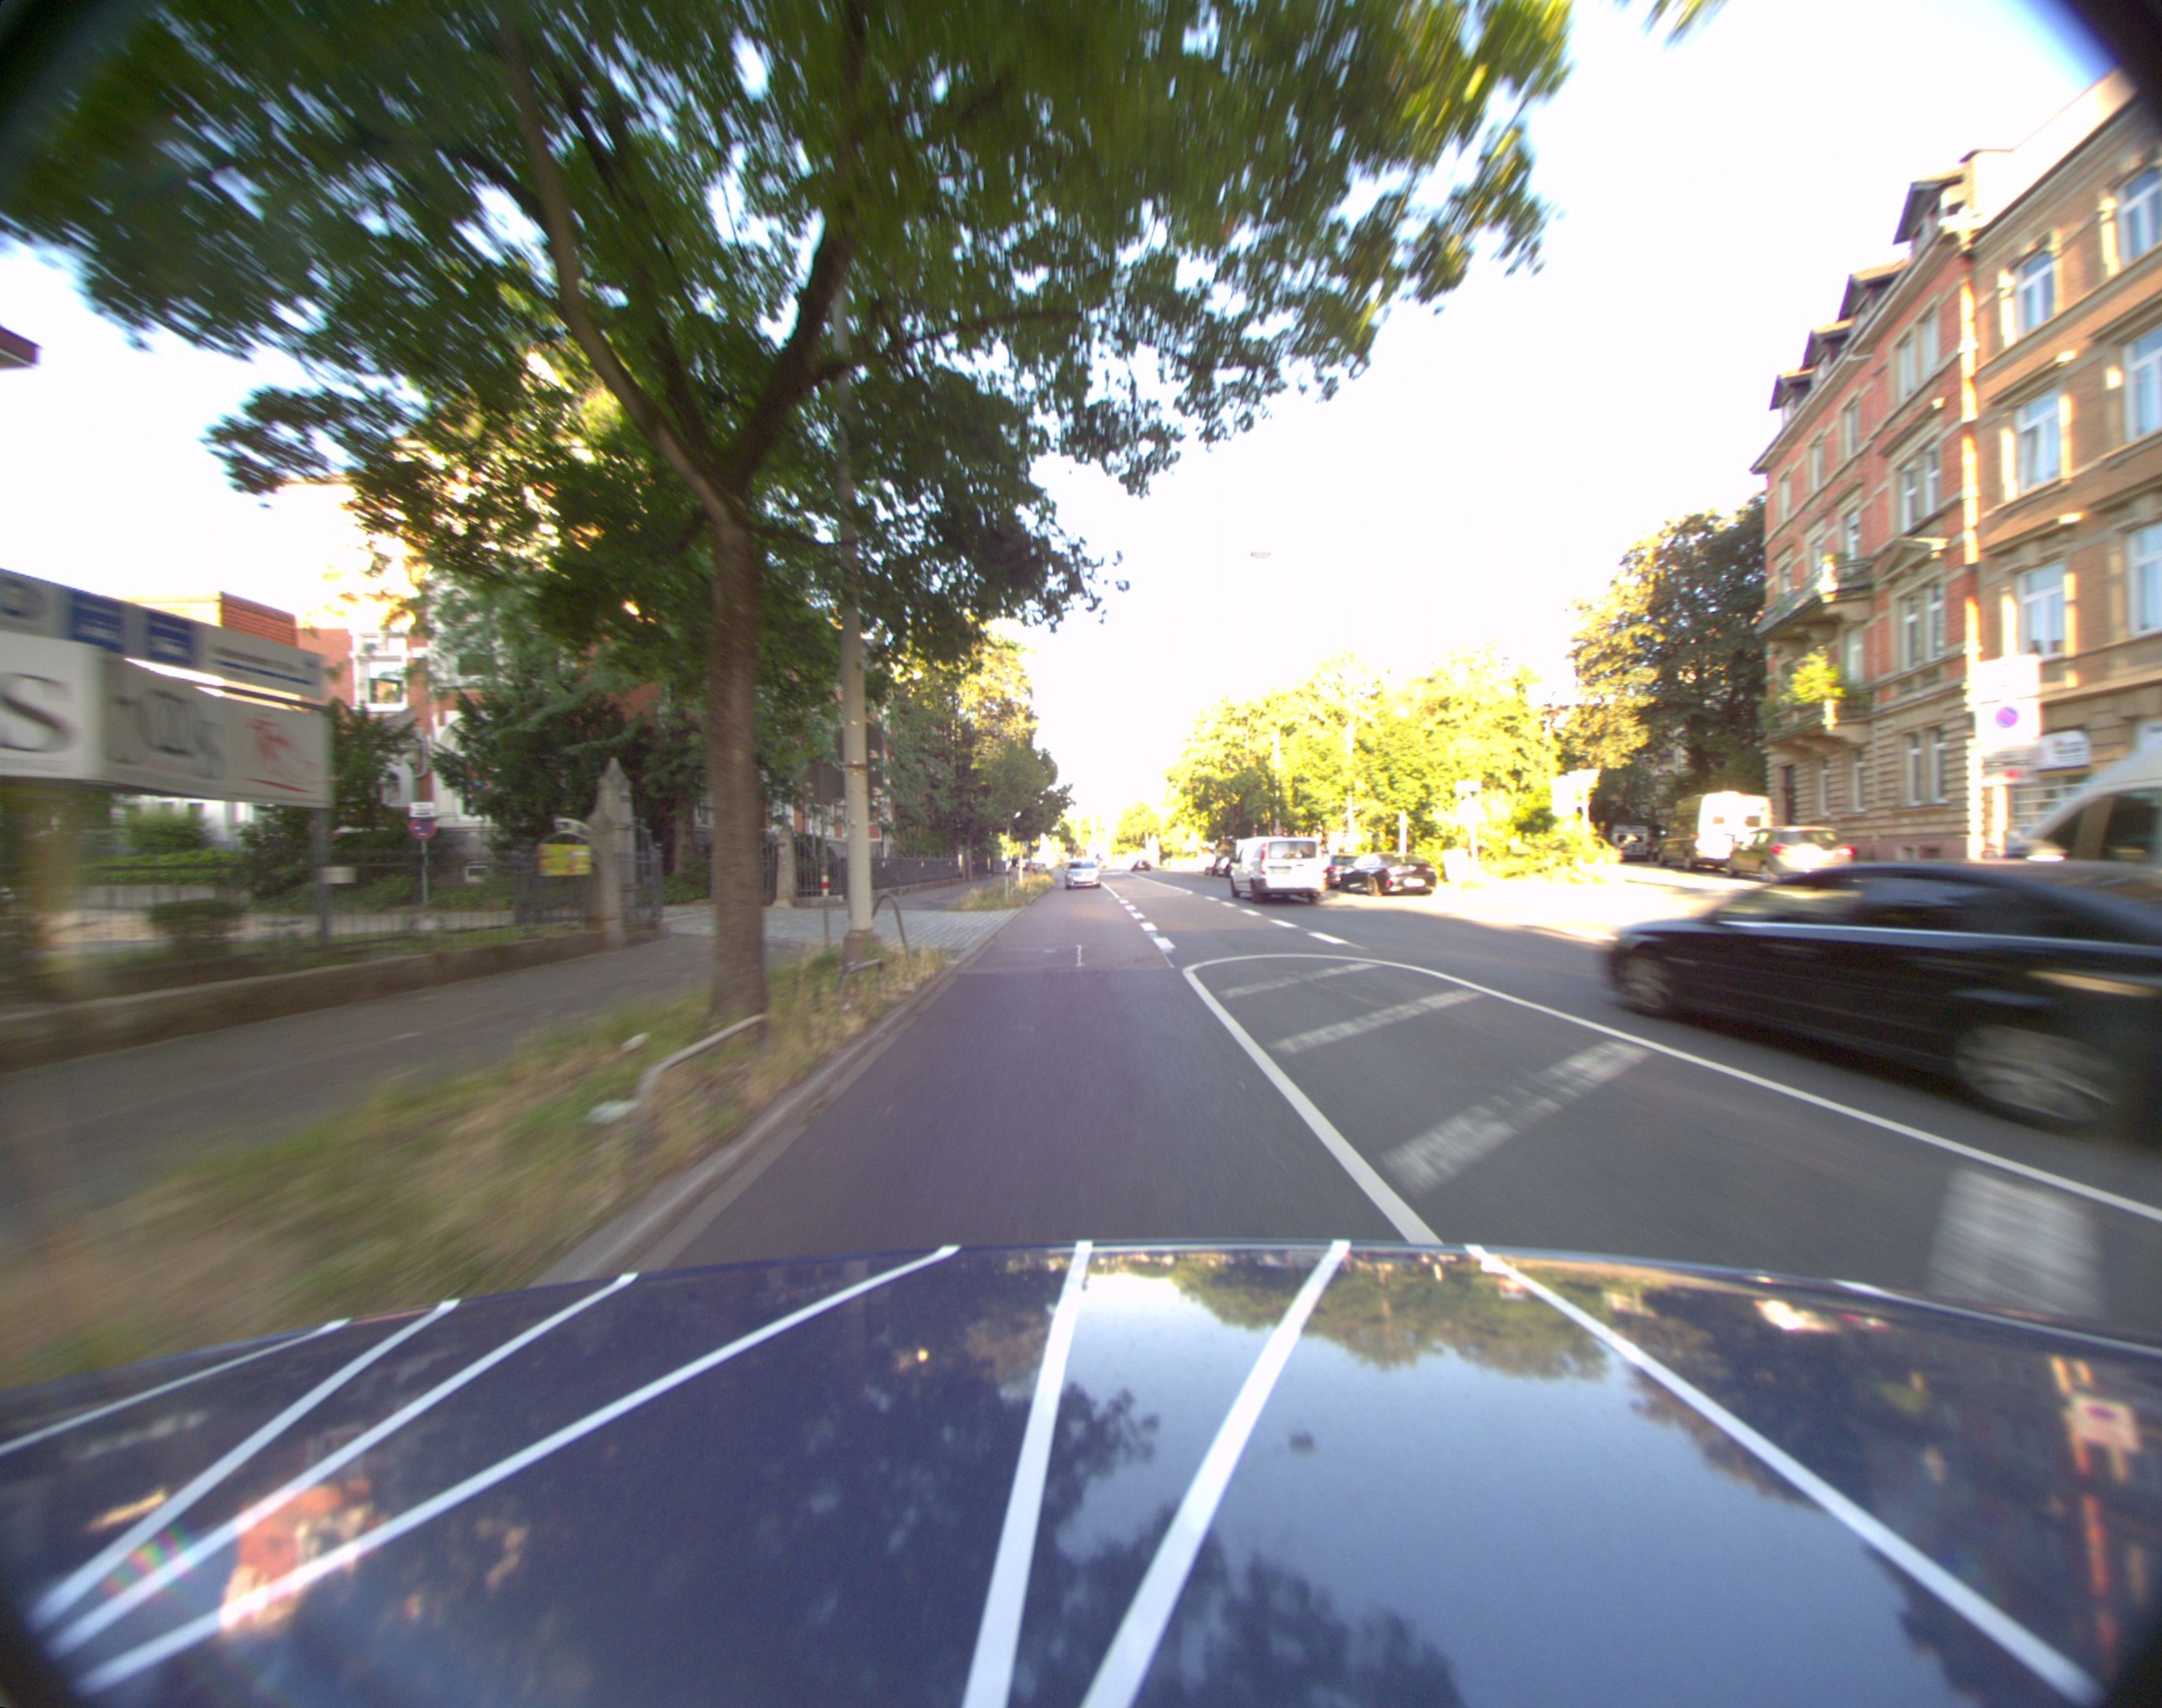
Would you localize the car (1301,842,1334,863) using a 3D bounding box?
[{"bbox_3d":[26.988,-0.168,86.883,2.220,2.275,5.099,-2,0,2],"label":"car"}]

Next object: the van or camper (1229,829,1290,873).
[{"bbox_3d":[10.500,-0.153,45.278,2.096,2.454,6.305,0,0,-1],"label":"van or camper"}]

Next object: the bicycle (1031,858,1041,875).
[{"bbox_3d":[-3.172,0.887,53.790,0.648,1.160,1.930,-3,0,-4],"label":"bicycle"}]

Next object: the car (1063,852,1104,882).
[{"bbox_3d":[0.057,0.660,39.180,1.896,1.454,3.965,-1,-1,-3],"label":"car"}]

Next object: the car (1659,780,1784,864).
[{"bbox_3d":[22.834,-1.034,27.355,2.121,2.723,5.319,0,0,25],"label":"car"}]

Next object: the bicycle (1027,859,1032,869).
[{"bbox_3d":[-6.511,1.258,95.664,0.567,1.268,2.263,3,1,-4],"label":"bicycle"}]

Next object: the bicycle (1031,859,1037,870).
[{"bbox_3d":[-5.932,1.275,95.717,0.567,1.292,2.263,3,1,-4],"label":"bicycle"}]

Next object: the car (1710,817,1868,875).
[{"bbox_3d":[20.593,-0.221,22.388,1.995,1.528,4.570,0,0,24],"label":"car"}]

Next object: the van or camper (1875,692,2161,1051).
[{"bbox_3d":[9.031,0.062,4.467,1.999,2.653,6.036,-5,0,-4],"label":"van or camper"}]

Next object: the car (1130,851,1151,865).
[{"bbox_3d":[6.112,0.376,78.373,1.770,1.394,4.544,-1,0,0],"label":"car"}]

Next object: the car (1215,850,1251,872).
[{"bbox_3d":[10.575,0.476,53.023,1.632,1.421,4.242,0,0,-1],"label":"car"}]

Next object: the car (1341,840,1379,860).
[{"bbox_3d":[27.769,-0.371,75.804,1.999,1.871,3.998,-3,0,-4],"label":"car"}]

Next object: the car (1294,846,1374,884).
[{"bbox_3d":[10.410,0.424,31.573,1.740,1.437,4.625,-1,0,0],"label":"car"}]

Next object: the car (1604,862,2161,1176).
[{"bbox_3d":[5.749,0.760,4.930,1.764,1.378,4.304,0,0,0],"label":"car"}]

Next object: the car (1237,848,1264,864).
[{"bbox_3d":[19.488,0.235,87.471,1.823,1.784,3.998,-2,0,-4],"label":"car"}]

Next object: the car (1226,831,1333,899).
[{"bbox_3d":[5.862,0.298,23.145,1.998,1.821,5.169,0,0,1],"label":"car"}]

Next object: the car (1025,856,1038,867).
[{"bbox_3d":[-6.915,0.990,105.921,1.731,1.456,3.545,2,0,-3],"label":"car"}]

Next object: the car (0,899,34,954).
[{"bbox_3d":[-33.123,2.009,21.586,4.449,1.477,1.822,3,1,3],"label":"car"}]

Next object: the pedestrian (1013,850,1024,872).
[{"bbox_3d":[-5.093,0.535,61.976,0.748,1.768,0.830,2,0,-12],"label":"pedestrian"}]

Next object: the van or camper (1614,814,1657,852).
[{"bbox_3d":[36.726,-1.341,50.267,2.204,2.340,5.321,0,0,37],"label":"van or camper"}]

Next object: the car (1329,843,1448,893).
[{"bbox_3d":[10.130,0.429,25.509,1.999,1.475,4.829,-1,0,0],"label":"car"}]

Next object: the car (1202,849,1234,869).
[{"bbox_3d":[10.439,0.358,58.333,1.627,1.498,4.544,-1,0,0],"label":"car"}]
